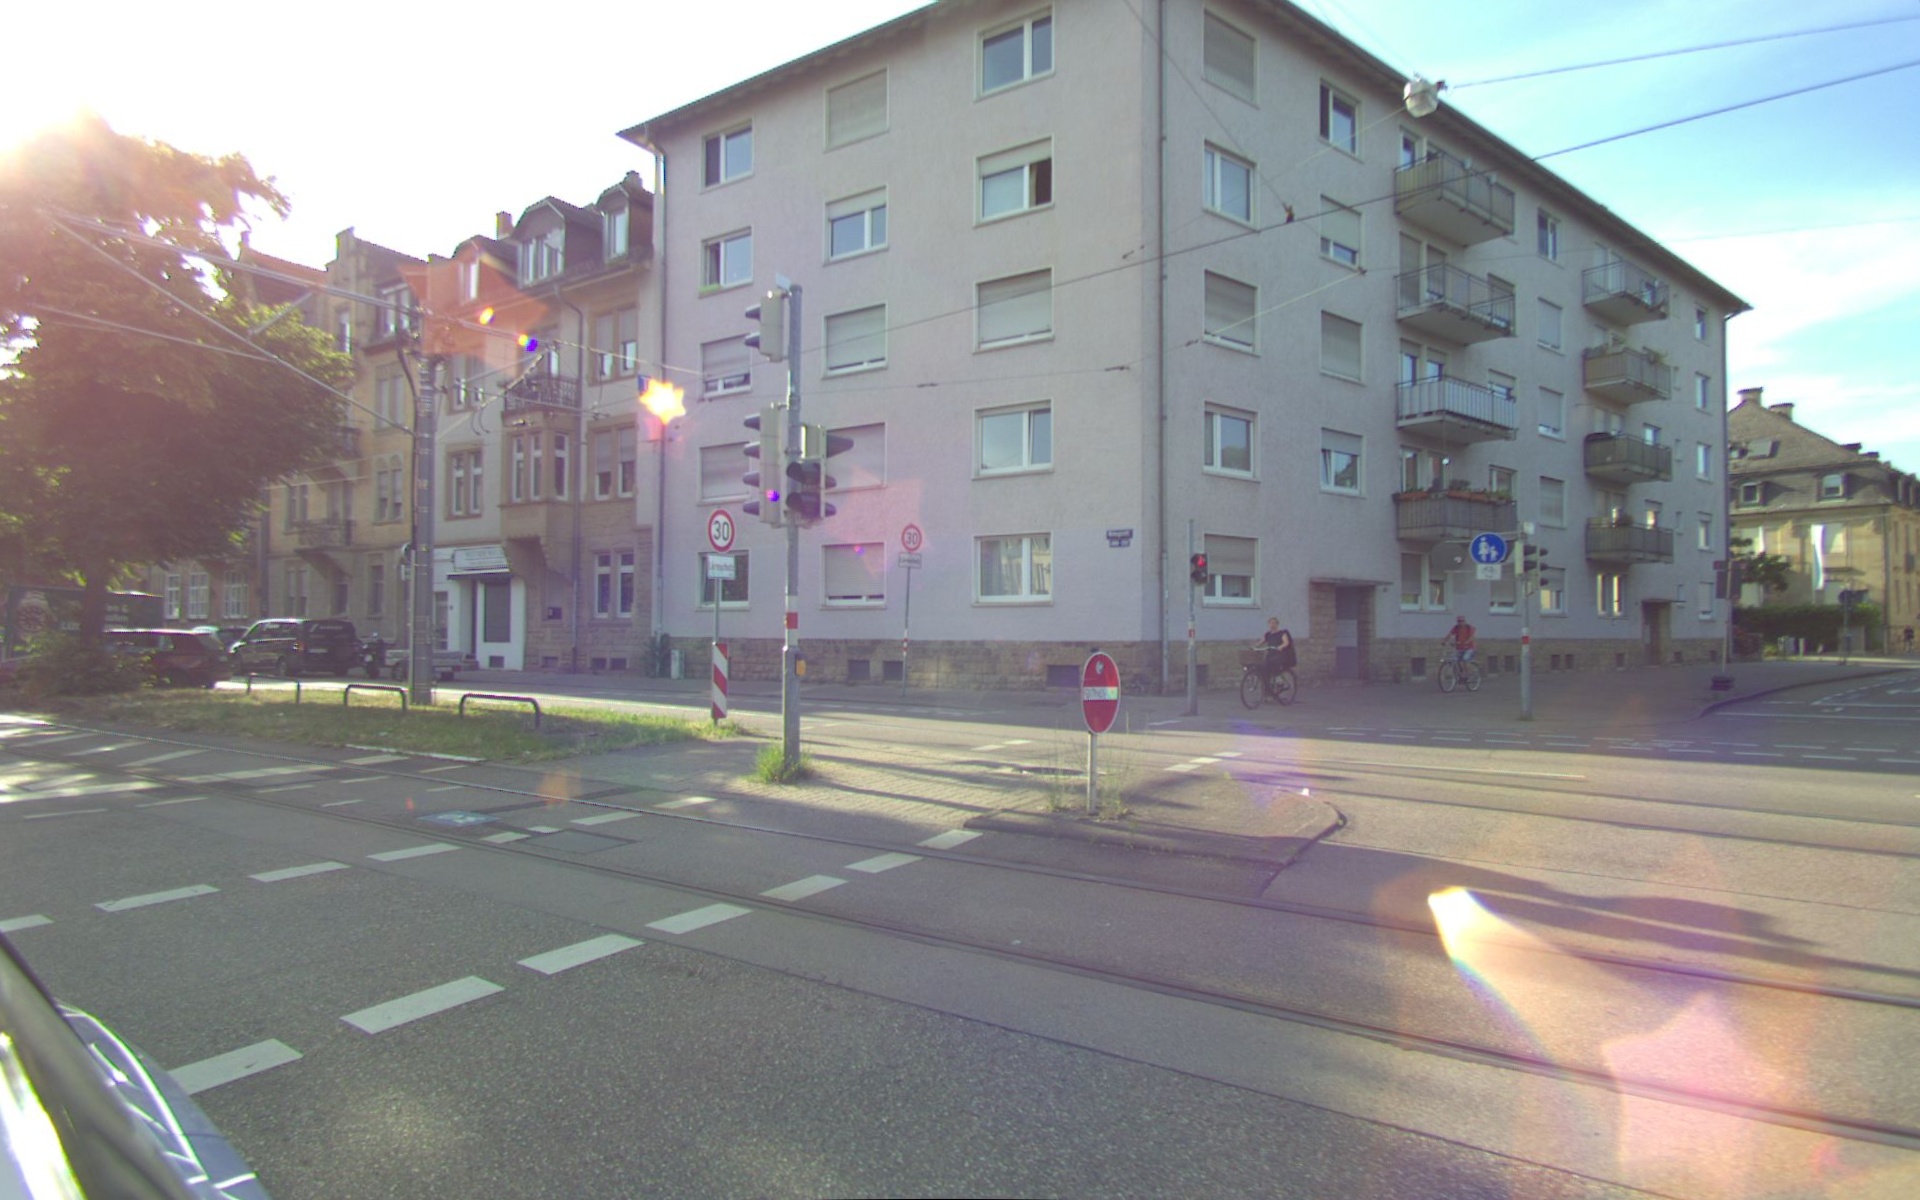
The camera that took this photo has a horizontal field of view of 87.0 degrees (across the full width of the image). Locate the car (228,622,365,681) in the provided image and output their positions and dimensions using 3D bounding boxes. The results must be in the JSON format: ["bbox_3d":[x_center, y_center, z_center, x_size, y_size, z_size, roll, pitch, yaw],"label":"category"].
[{"bbox_3d":[-21.429,1.609,32.642,4.707,1.763,2.146,-1,-1,35],"label":"car"}]

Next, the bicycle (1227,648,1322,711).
[{"bbox_3d":[5.979,1.482,19.215,1.885,1.119,0.737,2,-3,-36],"label":"bicycle"}]

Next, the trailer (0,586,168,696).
[{"bbox_3d":[-20.462,0.920,23.594,2.816,2.410,1.728,0,-1,-26],"label":"trailer"}]

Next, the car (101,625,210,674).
[{"bbox_3d":[-31.232,1.880,39.266,4.600,1.763,2.146,-1,-1,35],"label":"car"}]

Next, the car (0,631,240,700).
[{"bbox_3d":[-17.894,1.351,21.526,3.884,1.370,1.678,1,-2,-23],"label":"car"}]

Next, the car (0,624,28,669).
[{"bbox_3d":[-32.178,1.481,31.368,4.530,1.392,1.707,0,-1,-23],"label":"car"}]

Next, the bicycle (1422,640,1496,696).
[{"bbox_3d":[11.780,1.576,23.881,1.948,1.212,0.737,0,-1,-37],"label":"bicycle"}]

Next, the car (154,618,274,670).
[{"bbox_3d":[-26.889,1.547,36.435,4.600,1.763,2.146,-1,-1,35],"label":"car"}]

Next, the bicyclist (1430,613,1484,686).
[{"bbox_3d":[11.658,1.150,23.761,0.840,1.655,0.816,0,-1,-37],"label":"bicyclist"}]

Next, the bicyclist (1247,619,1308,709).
[{"bbox_3d":[6.053,1.205,19.300,0.761,1.654,0.796,2,0,-37],"label":"bicyclist"}]

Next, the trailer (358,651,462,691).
[{"bbox_3d":[-16.032,2.033,29.493,2.871,0.902,1.430,-1,4,33],"label":"trailer"}]

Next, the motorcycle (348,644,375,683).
[{"bbox_3d":[-18.087,1.900,30.566,0.627,1.088,1.738,0,-1,-33],"label":"motorcycle"}]

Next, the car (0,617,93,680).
[{"bbox_3d":[-27.213,1.323,27.810,4.638,1.703,2.178,0,-2,-15],"label":"car"}]
